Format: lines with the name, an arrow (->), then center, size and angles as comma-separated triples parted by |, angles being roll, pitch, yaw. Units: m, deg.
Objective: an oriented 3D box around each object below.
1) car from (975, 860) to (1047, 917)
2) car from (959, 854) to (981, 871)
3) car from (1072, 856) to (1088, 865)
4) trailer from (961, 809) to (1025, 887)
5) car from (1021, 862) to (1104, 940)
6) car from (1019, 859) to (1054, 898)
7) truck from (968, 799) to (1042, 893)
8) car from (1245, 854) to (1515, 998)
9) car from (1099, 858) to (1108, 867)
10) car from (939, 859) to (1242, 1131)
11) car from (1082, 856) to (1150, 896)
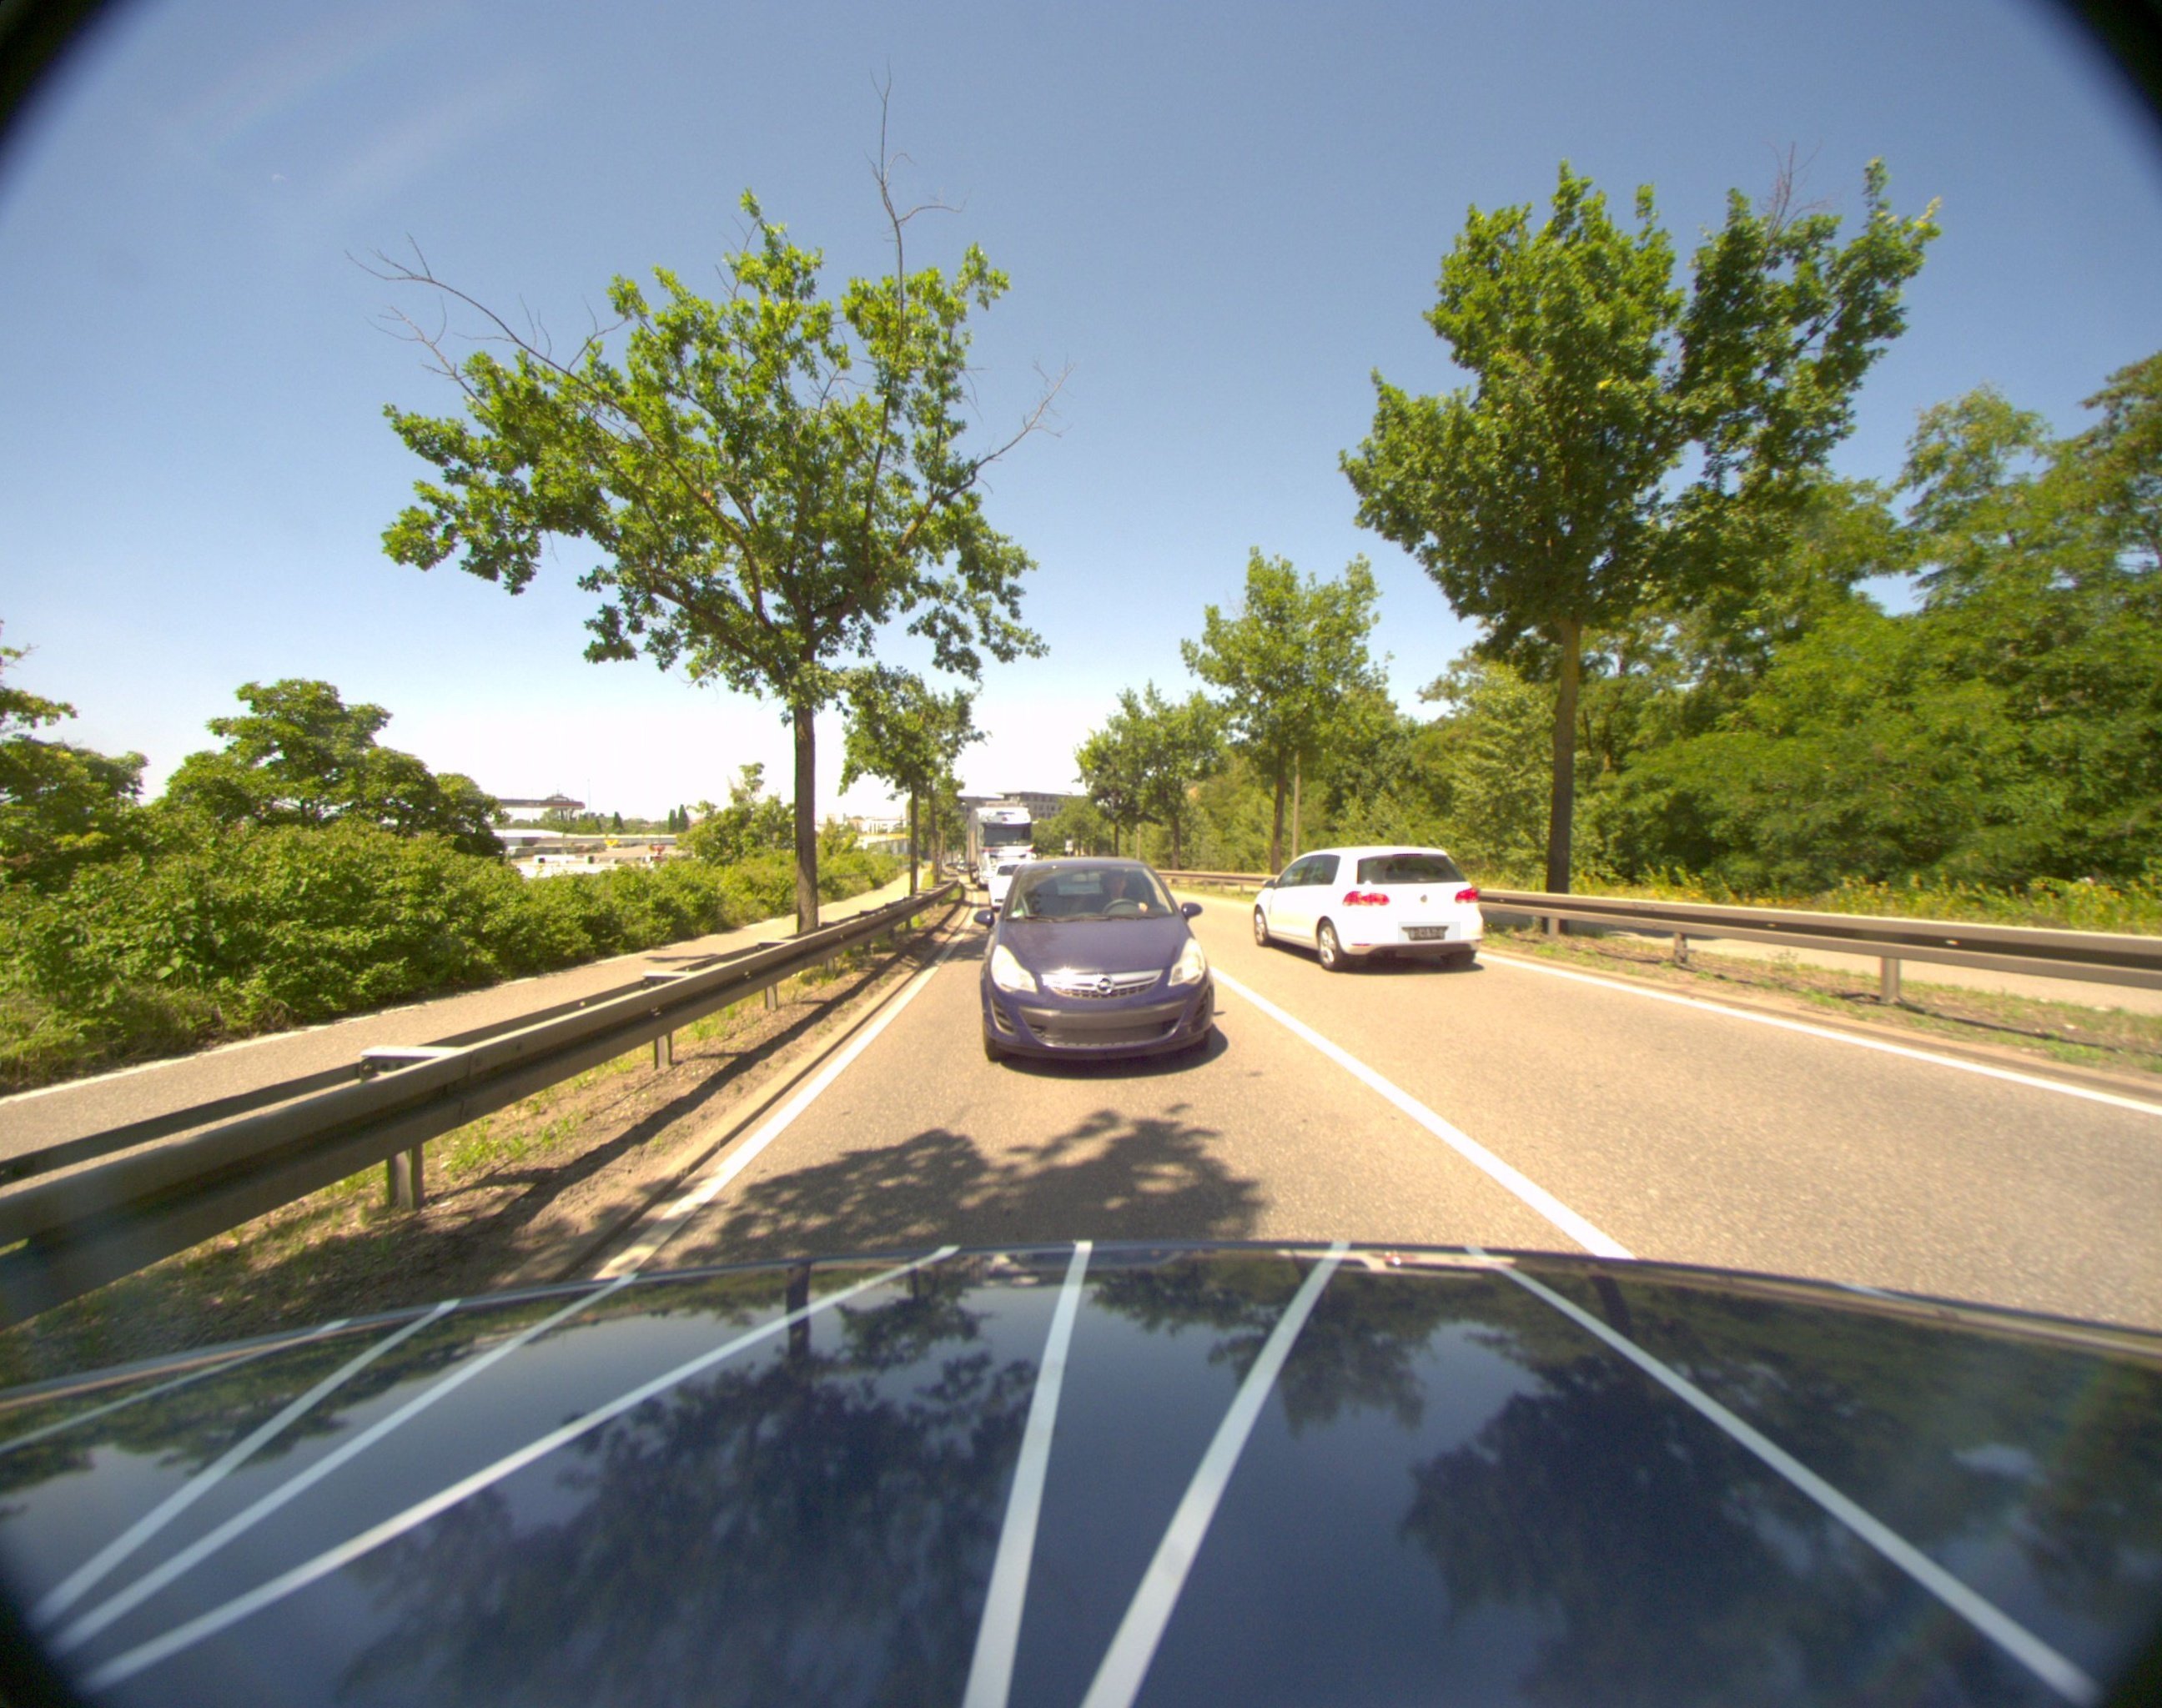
car -> -1.951, 0.944, 22.166 | 1.817, 1.420, 3.714 | -2, 0, -1
car -> -11.169, 0.825, 76.690 | 1.976, 1.567, 3.997 | -2, 0, -7
car -> -0.166, 1.021, 121.705 | 1.702, 1.406, 3.963 | -1, 0, 14
trailer -> -5.905, -0.349, 48.339 | 2.883, 4.189, 13.994 | -2, 0, -11
car -> -0.459, 0.923, 16.728 | 1.570, 1.408, 4.121 | -2, 0, -3
car -> -1.770, 0.922, 29.660 | 1.251, 1.376, 3.103 | -2, 0, -4
truck -> -4.118, -0.372, 39.219 | 2.860, 4.244, 8.807 | -2, 0, -11
car -> 3.604, 0.755, 10.030 | 1.730, 1.430, 4.022 | -3, 0, -4
car -> 5.211, 1.861, 175.937 | 1.784, 2.002, 4.001 | -2, 0, 5
car -> 0.007, 0.825, 6.556 | 1.699, 1.459, 4.382 | -2, 0, -1
car -> 1.284, 0.805, 30.114 | 1.882, 1.372, 4.667 | -3, 0, -7
